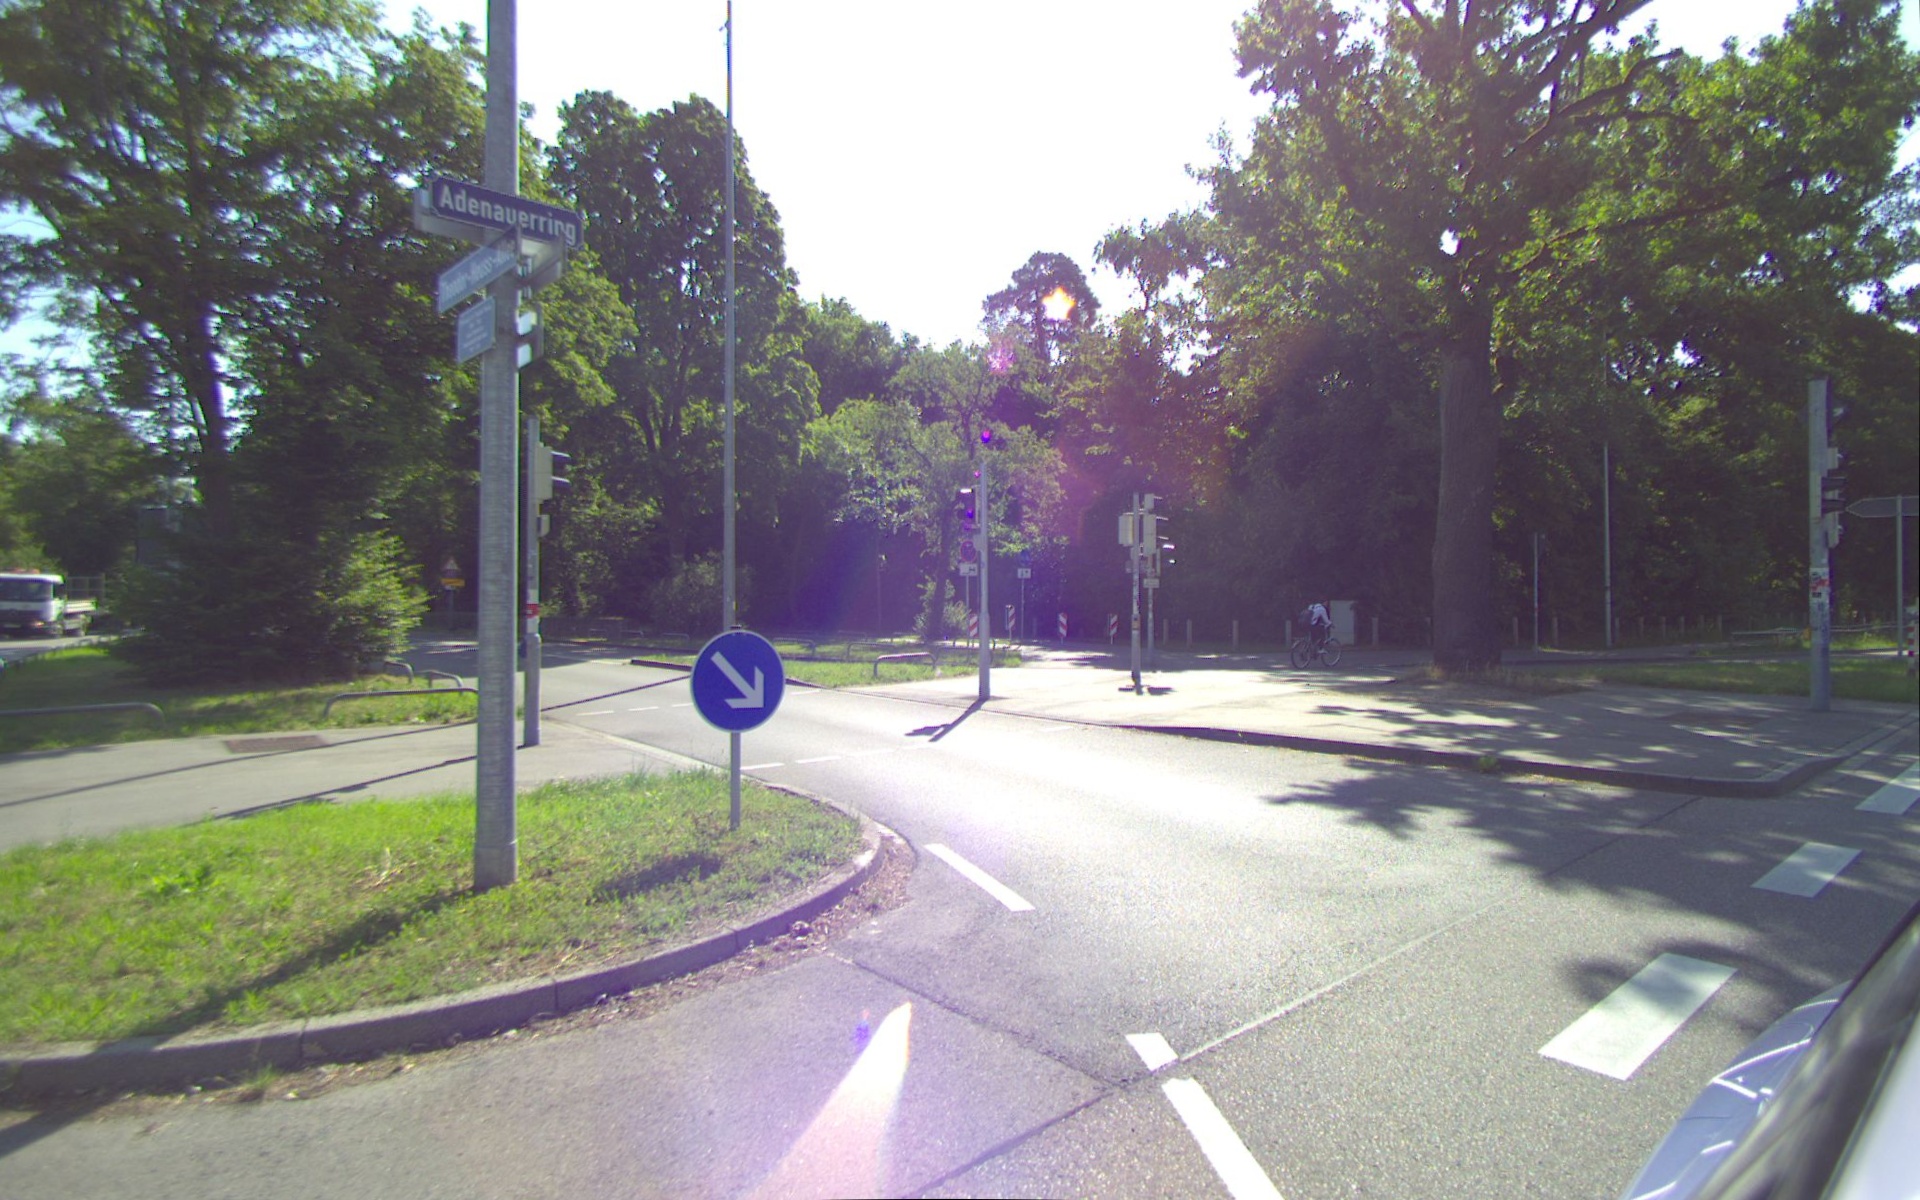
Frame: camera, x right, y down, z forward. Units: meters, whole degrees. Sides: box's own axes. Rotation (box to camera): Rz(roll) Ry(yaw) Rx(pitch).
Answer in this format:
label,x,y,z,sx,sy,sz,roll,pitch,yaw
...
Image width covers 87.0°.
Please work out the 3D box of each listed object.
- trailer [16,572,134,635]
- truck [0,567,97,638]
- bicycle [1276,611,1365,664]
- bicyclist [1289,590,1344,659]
label,x,y,z,sx,sy,sz,roll,pitch,yaw
trailer,-41.461,0.154,47.637,2.649,2.721,6.897,0,0,-28
truck,-38.340,0.113,41.910,2.626,2.752,6.211,0,0,-28
bicycle,8.819,0.900,24.753,2.057,1.214,0.728,0,0,-21
bicyclist,8.725,0.578,24.748,1.036,1.660,0.727,0,0,-21
